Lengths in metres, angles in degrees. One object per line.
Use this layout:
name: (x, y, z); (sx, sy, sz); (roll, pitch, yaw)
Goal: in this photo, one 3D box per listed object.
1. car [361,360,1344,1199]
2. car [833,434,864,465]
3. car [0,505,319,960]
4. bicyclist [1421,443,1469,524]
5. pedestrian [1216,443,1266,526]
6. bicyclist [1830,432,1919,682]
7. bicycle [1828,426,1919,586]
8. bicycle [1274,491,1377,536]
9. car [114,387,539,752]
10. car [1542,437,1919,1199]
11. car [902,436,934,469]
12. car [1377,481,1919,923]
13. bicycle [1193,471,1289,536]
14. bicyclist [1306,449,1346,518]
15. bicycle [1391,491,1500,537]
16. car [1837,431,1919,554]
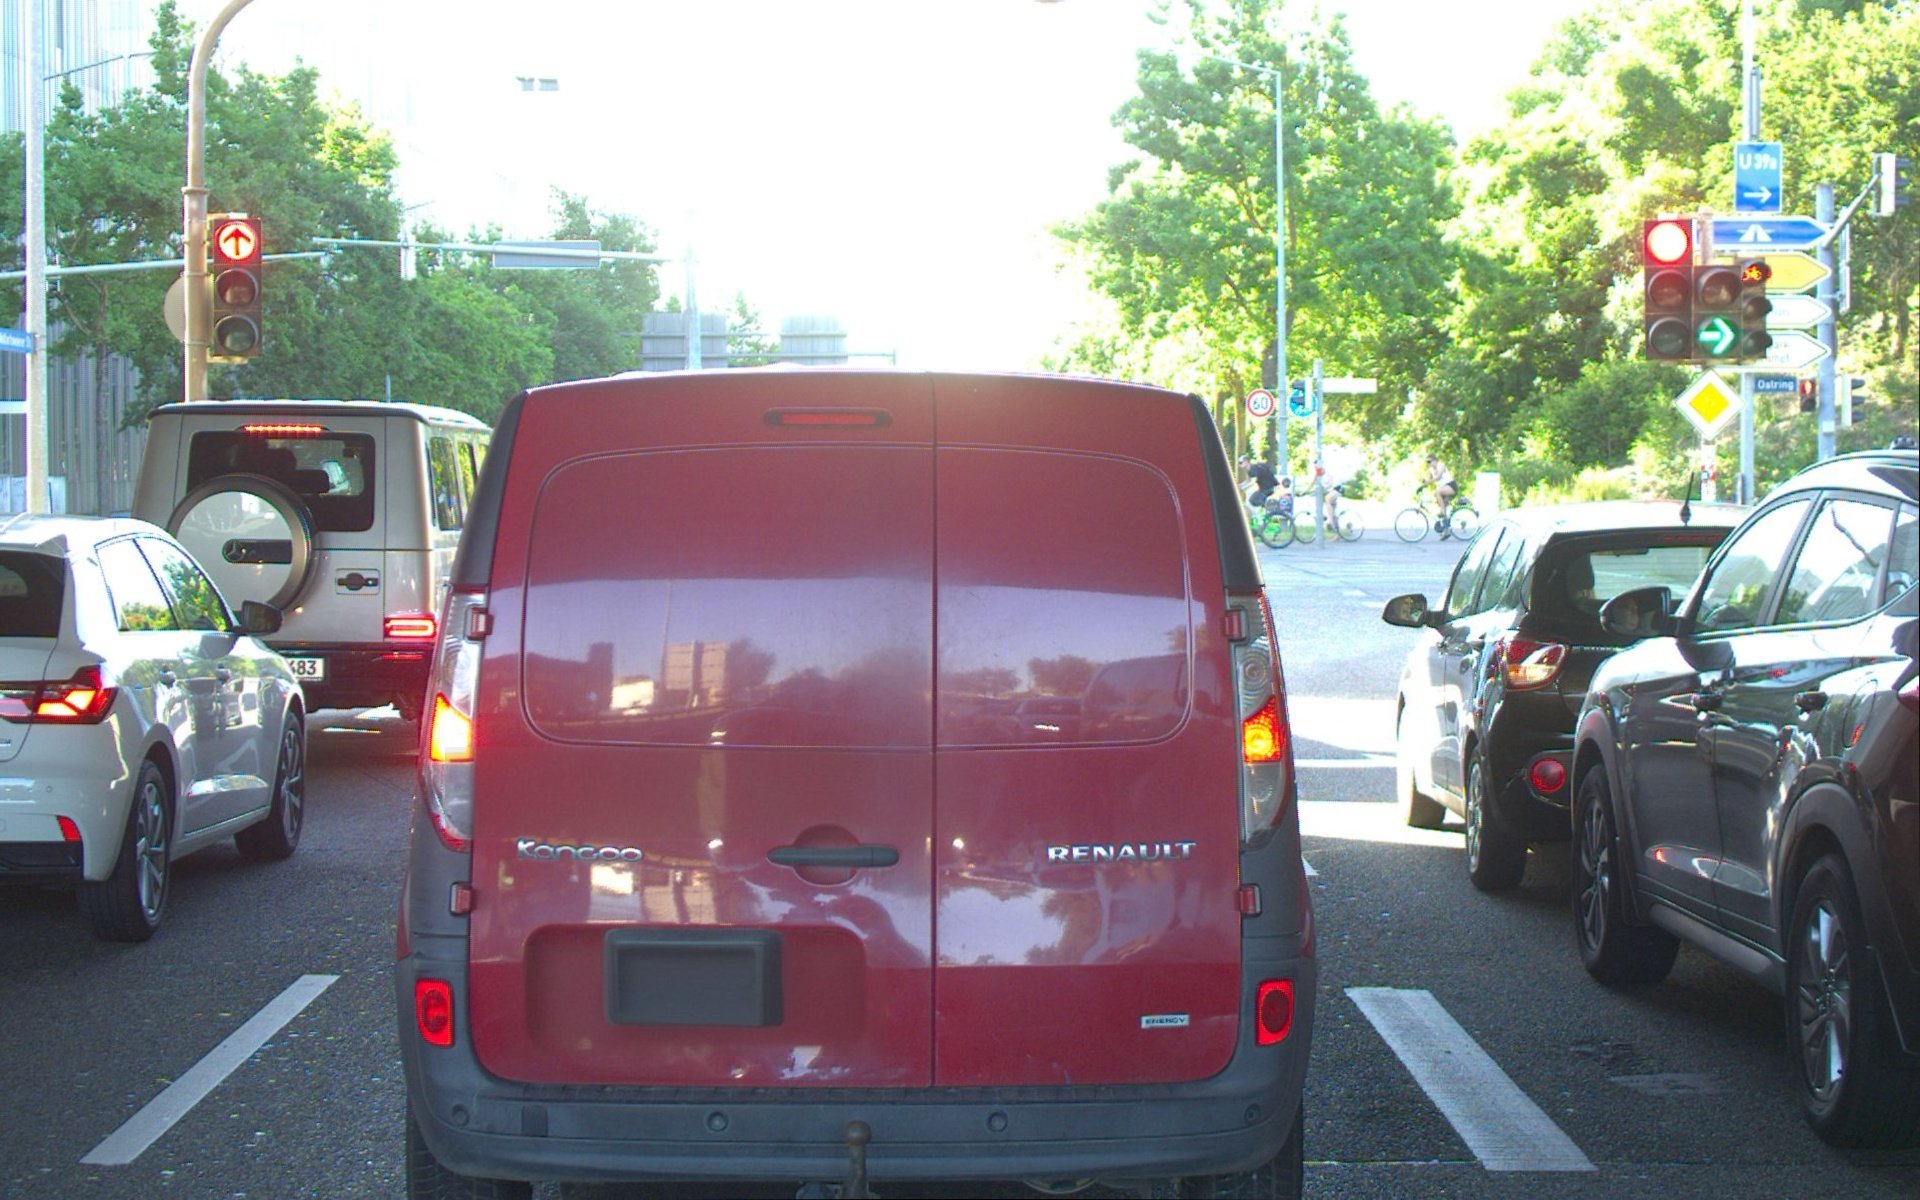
car: (-0.202, 0.412, 8.074); (1.719, 1.758, 4.000); (1, 2, 0)
car: (-7.777, -10.474, 239.624); (1.993, 2.007, 4.000); (1, 1, 0)
car: (-3.523, 0.360, 12.618); (1.692, 1.405, 3.814); (1, 2, -1)
bicyclist: (9.244, -2.210, 65.537); (0.755, 1.536, 0.697); (0, 1, -4)
pedestrian: (5.294, -2.172, 64.756); (0.836, 1.549, 0.557); (0, 1, -6)
bicyclist: (6.135, -0.284, 22.709); (0.677, 1.623, 0.644); (1, 1, 11)
bicycle: (6.138, -0.611, 22.705); (0.677, 1.020, 1.528); (1, 1, 11)
bicycle: (7.102, -1.675, 66.790); (1.912, 0.864, 0.605); (0, 1, -3)
car: (-3.563, -0.209, 19.986); (1.813, 1.897, 3.814); (1, 2, -1)
car: (2.847, 0.439, 9.134); (1.778, 1.650, 3.991); (1, 2, -2)
car: (-2.676, -9.487, 221.774); (1.993, 2.007, 4.000); (1, 1, 0)
car: (2.784, 0.306, 14.429); (1.652, 1.546, 3.864); (1, 2, 1)
bicycle: (5.284, -1.816, 64.769); (1.729, 1.229, 0.558); (0, 1, -6)
bicyclist: (7.102, -2.254, 66.776); (0.652, 1.325, 0.603); (1, 1, -3)
bicycle: (9.253, -1.649, 65.559); (1.952, 0.871, 0.699); (0, 1, -4)
car: (14.274, -1.400, 46.278); (4.346, 1.602, 2.000); (1, 1, -3)
